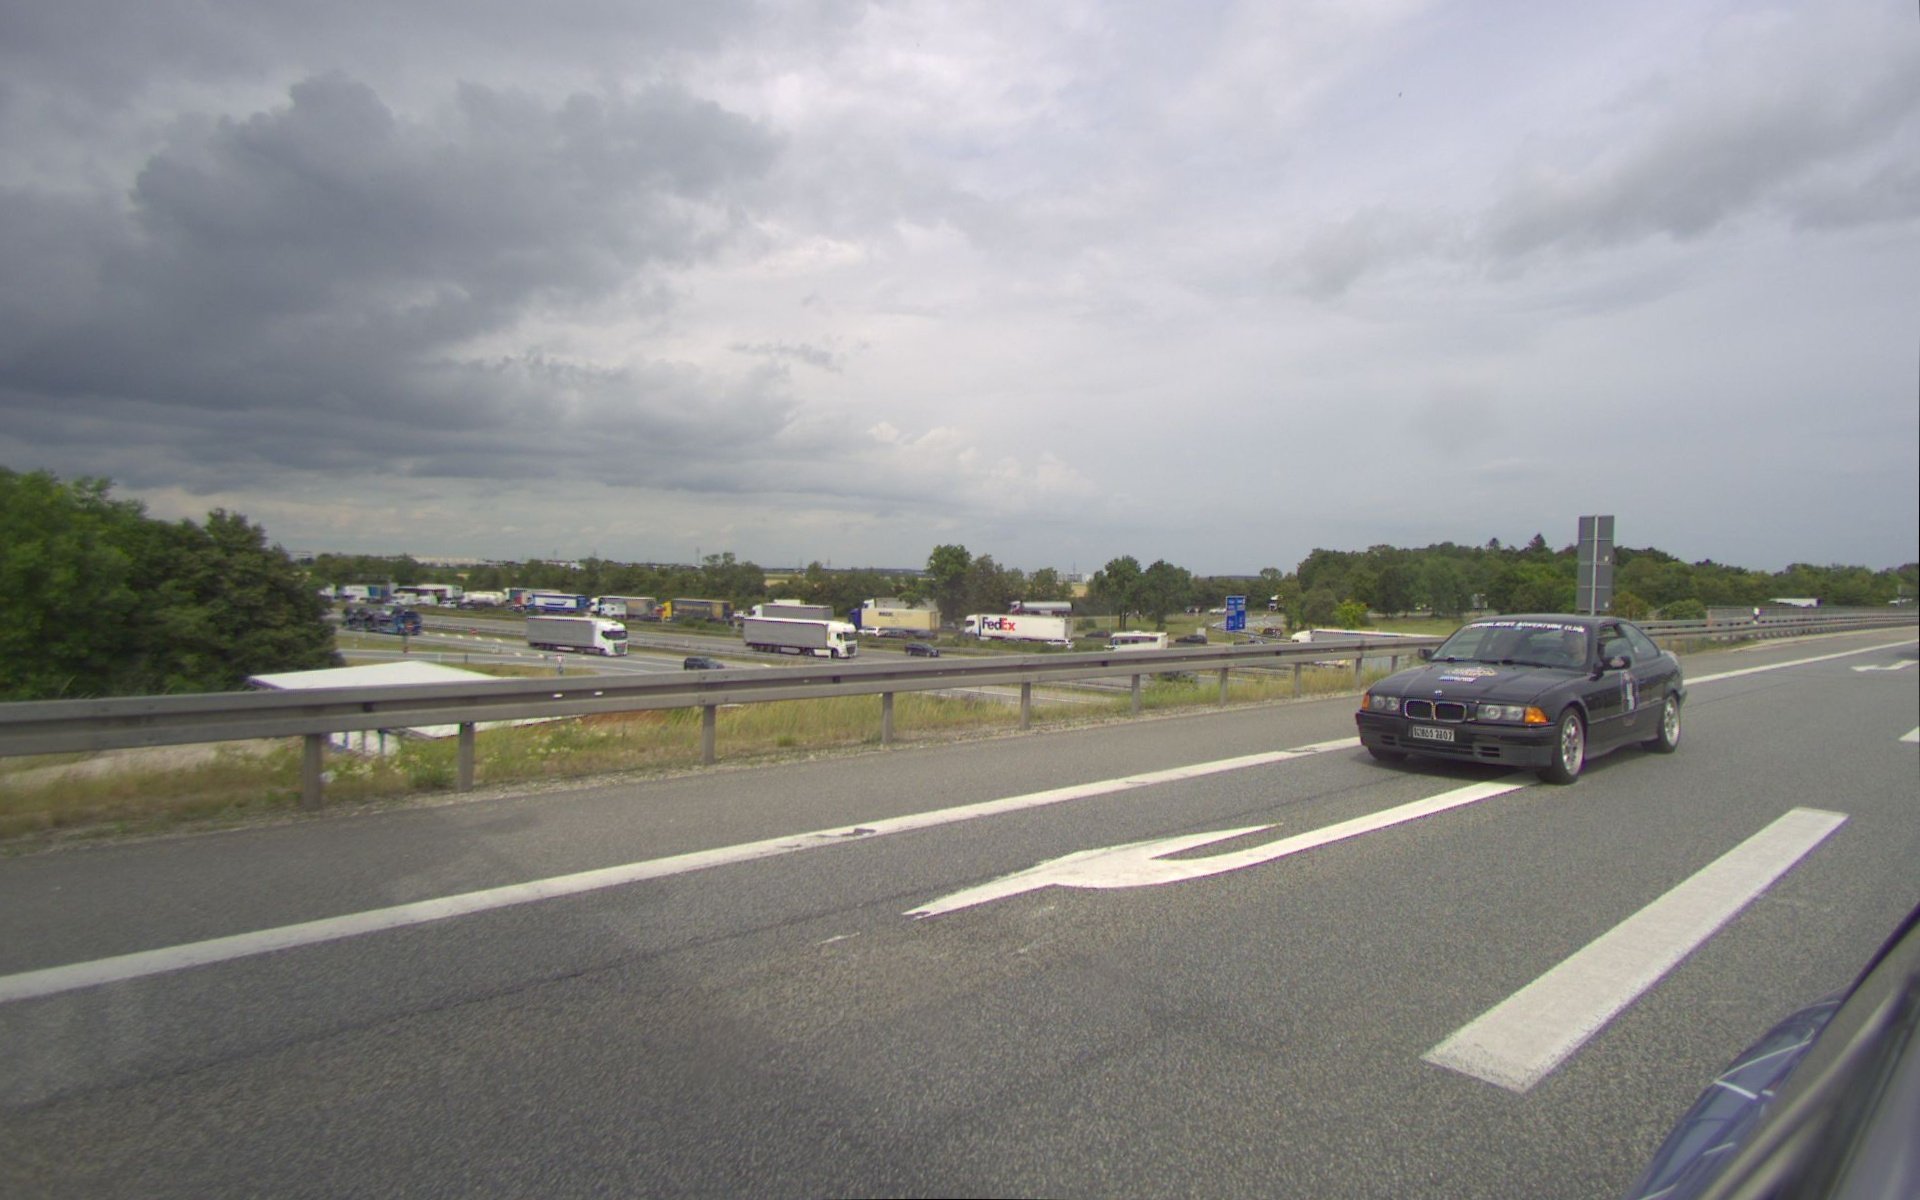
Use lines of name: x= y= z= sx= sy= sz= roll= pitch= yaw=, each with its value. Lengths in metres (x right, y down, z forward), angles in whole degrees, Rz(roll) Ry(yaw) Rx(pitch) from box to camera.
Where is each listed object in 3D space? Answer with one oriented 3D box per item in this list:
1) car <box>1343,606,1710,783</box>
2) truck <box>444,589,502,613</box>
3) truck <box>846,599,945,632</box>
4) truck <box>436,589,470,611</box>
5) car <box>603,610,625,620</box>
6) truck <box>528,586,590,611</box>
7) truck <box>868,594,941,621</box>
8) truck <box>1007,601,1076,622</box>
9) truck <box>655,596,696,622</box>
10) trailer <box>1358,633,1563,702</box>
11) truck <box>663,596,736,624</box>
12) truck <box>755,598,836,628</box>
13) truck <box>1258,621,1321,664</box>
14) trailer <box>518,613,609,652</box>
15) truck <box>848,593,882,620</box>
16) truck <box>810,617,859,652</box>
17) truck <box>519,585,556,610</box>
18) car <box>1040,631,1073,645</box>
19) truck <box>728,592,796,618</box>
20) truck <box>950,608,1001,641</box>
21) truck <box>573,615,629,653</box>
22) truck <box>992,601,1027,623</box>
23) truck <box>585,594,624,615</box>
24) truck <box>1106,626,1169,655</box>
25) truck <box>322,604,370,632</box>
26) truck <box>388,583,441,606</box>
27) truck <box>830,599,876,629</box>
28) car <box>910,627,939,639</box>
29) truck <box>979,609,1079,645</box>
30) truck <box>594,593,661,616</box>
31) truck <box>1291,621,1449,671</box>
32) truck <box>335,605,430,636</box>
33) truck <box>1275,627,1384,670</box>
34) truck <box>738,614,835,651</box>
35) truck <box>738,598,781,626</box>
car: x=5.506 y=0.731 z=9.584 sx=4.289 sy=1.297 sz=1.707 roll=1 pitch=0 yaw=-41
truck: x=-104.335 y=0.116 z=216.723 sx=15.249 sy=4.882 sz=4.036 roll=1 pitch=0 yaw=34
truck: x=-9.974 y=2.258 z=154.284 sx=16.263 sy=4.612 sz=3.957 roll=1 pitch=0 yaw=36
truck: x=-110.825 y=-0.030 z=221.106 sx=6.454 sy=4.555 sz=4.022 roll=1 pitch=-1 yaw=34
car: x=-60.955 y=2.648 z=178.184 sx=3.975 sy=1.505 sz=1.716 roll=1 pitch=1 yaw=36
truck: x=-80.026 y=-0.307 z=201.941 sx=14.384 sy=4.882 sz=4.037 roll=1 pitch=0 yaw=34
truck: x=-11.197 y=1.490 z=203.589 sx=14.561 sy=5.281 sz=3.864 roll=1 pitch=-1 yaw=-5
truck: x=16.927 y=2.424 z=209.867 sx=14.422 sy=4.141 sz=3.092 roll=1 pitch=-1 yaw=-21
truck: x=-51.525 y=1.606 z=183.181 sx=6.462 sy=4.555 sz=4.017 roll=0 pitch=0 yaw=37
trailer: x=38.163 y=4.991 z=77.759 sx=13.868 sy=4.340 sz=3.091 roll=1 pitch=0 yaw=36
truck: x=-46.162 y=1.702 z=179.031 sx=15.219 sy=4.612 sz=3.954 roll=1 pitch=0 yaw=37
truck: x=-27.035 y=2.089 z=165.548 sx=14.796 sy=4.612 sz=3.955 roll=1 pitch=0 yaw=37
truck: x=38.927 y=4.956 z=119.586 sx=6.258 sy=4.733 sz=3.879 roll=0 pitch=0 yaw=38
trailer: x=-48.032 y=3.834 z=122.140 sx=14.158 sy=4.151 sz=2.952 roll=1 pitch=0 yaw=36
truck: x=-19.019 y=1.363 z=203.078 sx=6.323 sy=5.381 sz=3.858 roll=0 pitch=0 yaw=1
truck: x=-14.336 y=3.873 z=115.699 sx=5.130 sy=3.725 sz=2.467 roll=2 pitch=0 yaw=33
truck: x=-86.022 y=-0.485 z=205.932 sx=6.451 sy=4.798 sz=4.024 roll=1 pitch=0 yaw=33
car: x=12.635 y=4.996 z=132.050 sx=3.975 sy=1.575 sz=1.651 roll=2 pitch=1 yaw=35
truck: x=-39.879 y=0.988 z=204.058 sx=12.778 sy=5.105 sz=3.944 roll=1 pitch=-1 yaw=7
truck: x=2.184 y=3.464 z=145.274 sx=6.254 sy=4.568 sz=3.882 roll=0 pitch=0 yaw=36
truck: x=-41.760 y=3.933 z=117.631 sx=6.487 sy=4.151 sz=2.952 roll=1 pitch=0 yaw=35
truck: x=10.177 y=2.433 z=207.340 sx=6.307 sy=4.240 sz=3.169 roll=0 pitch=0 yaw=-20
truck: x=-68.402 y=0.873 z=194.605 sx=6.457 sy=4.063 sz=4.080 roll=0 pitch=-1 yaw=36
truck: x=21.995 y=5.012 z=125.363 sx=7.520 sy=3.237 sz=2.203 roll=1 pitch=-1 yaw=36
truck: x=-93.077 y=2.654 z=153.371 sx=6.371 sy=4.041 sz=3.818 roll=1 pitch=1 yaw=32
truck: x=-123.741 y=-1.300 z=229.492 sx=15.249 sy=4.882 sz=4.036 roll=1 pitch=0 yaw=34
truck: x=-16.838 y=2.151 z=159.164 sx=6.253 sy=4.568 sz=3.882 roll=0 pitch=0 yaw=35
car: x=-5.172 y=4.743 z=145.388 sx=3.976 sy=1.505 sz=1.715 roll=1 pitch=1 yaw=36
truck: x=9.446 y=3.606 z=140.079 sx=13.702 sy=4.612 sz=3.957 roll=1 pitch=0 yaw=35
truck: x=-62.625 y=0.888 z=190.457 sx=14.799 sy=4.083 sz=4.090 roll=1 pitch=0 yaw=36
truck: x=46.031 y=5.034 z=114.237 sx=16.076 sy=4.759 sz=3.942 roll=1 pitch=0 yaw=37
truck: x=-84.409 y=2.868 z=147.678 sx=18.907 sy=4.111 sz=3.947 roll=1 pitch=1 yaw=33
truck: x=40.163 y=5.186 z=110.286 sx=10.702 sy=4.123 sz=3.203 roll=1 pitch=0 yaw=33
truck: x=-20.692 y=3.725 z=119.917 sx=13.047 sy=3.725 sz=2.467 roll=2 pitch=0 yaw=34
truck: x=-33.844 y=2.027 z=170.535 sx=6.255 sy=4.568 sz=3.881 roll=0 pitch=0 yaw=36
